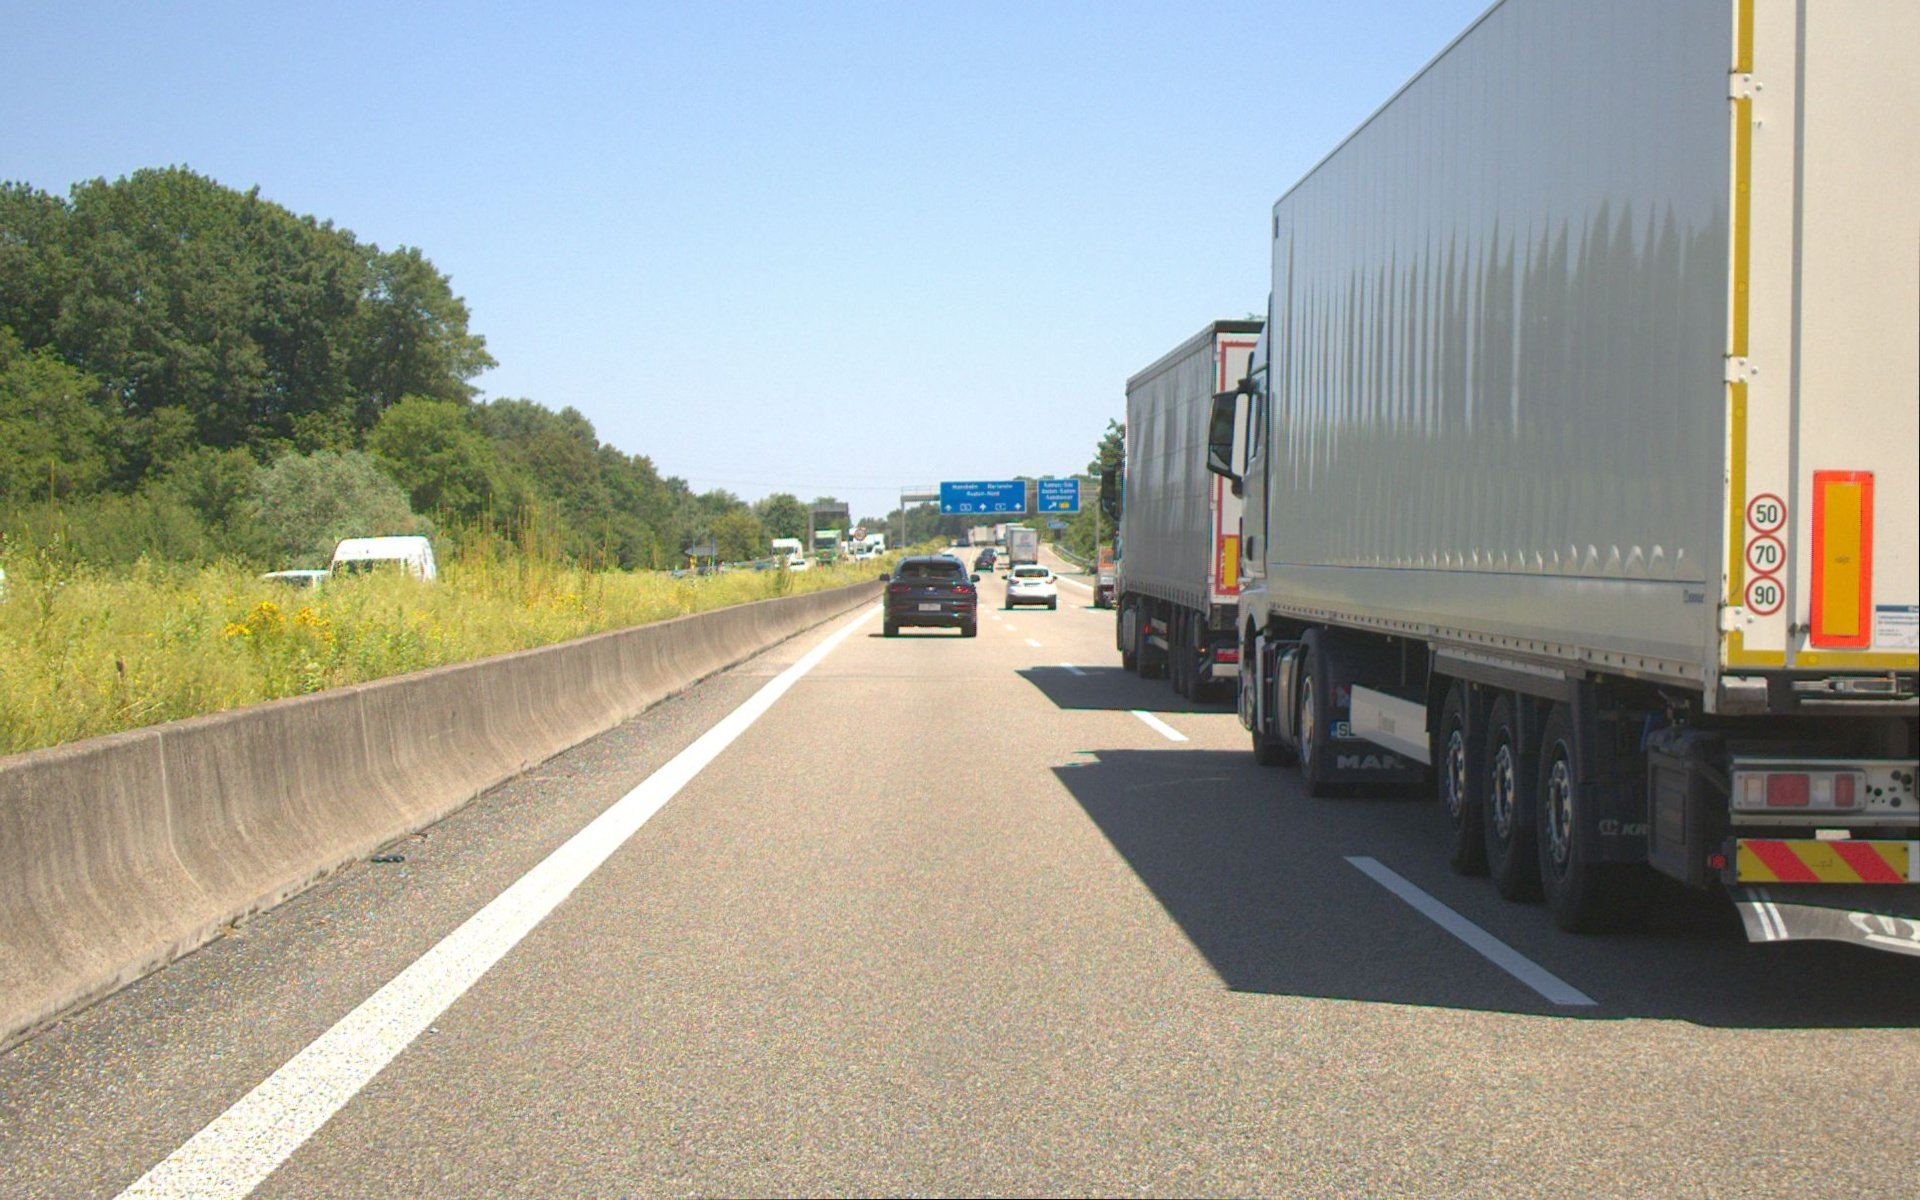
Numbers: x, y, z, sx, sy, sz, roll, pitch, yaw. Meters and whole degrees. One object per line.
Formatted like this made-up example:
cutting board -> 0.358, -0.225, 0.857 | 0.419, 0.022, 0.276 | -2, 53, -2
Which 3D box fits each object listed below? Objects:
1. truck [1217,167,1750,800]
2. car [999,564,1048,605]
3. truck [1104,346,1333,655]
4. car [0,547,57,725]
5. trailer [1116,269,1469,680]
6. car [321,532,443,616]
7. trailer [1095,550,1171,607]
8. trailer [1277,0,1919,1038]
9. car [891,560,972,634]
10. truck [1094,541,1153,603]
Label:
truck -> 3.550, -0.773, 24.826 | 2.799, 3.993, 6.021 | 0, 1, -1
car -> 2.342, -0.604, 127.705 | 1.740, 1.481, 4.000 | 0, 1, 0
truck -> 3.577, -1.336, 48.965 | 2.700, 4.080, 6.453 | 1, 0, 0
car -> -10.342, 0.374, 33.052 | 1.993, 1.714, 5.117 | -1, 1, -1
trailer -> 3.645, -1.281, 41.593 | 2.707, 4.054, 14.746 | 1, 0, 0
car -> -14.689, -0.680, 87.700 | 1.993, 2.007, 6.557 | 2, 1, -1
trailer -> 6.490, -0.836, 129.507 | 2.420, 2.007, 6.034 | 0, 1, -1
trailer -> 3.684, -0.701, 17.151 | 2.794, 4.021, 12.568 | 0, 1, -1
car -> -0.633, -0.093, 74.122 | 1.660, 1.544, 3.783 | 0, 1, -1
truck -> 6.384, -1.122, 134.861 | 1.993, 2.365, 4.645 | 0, 1, -1
